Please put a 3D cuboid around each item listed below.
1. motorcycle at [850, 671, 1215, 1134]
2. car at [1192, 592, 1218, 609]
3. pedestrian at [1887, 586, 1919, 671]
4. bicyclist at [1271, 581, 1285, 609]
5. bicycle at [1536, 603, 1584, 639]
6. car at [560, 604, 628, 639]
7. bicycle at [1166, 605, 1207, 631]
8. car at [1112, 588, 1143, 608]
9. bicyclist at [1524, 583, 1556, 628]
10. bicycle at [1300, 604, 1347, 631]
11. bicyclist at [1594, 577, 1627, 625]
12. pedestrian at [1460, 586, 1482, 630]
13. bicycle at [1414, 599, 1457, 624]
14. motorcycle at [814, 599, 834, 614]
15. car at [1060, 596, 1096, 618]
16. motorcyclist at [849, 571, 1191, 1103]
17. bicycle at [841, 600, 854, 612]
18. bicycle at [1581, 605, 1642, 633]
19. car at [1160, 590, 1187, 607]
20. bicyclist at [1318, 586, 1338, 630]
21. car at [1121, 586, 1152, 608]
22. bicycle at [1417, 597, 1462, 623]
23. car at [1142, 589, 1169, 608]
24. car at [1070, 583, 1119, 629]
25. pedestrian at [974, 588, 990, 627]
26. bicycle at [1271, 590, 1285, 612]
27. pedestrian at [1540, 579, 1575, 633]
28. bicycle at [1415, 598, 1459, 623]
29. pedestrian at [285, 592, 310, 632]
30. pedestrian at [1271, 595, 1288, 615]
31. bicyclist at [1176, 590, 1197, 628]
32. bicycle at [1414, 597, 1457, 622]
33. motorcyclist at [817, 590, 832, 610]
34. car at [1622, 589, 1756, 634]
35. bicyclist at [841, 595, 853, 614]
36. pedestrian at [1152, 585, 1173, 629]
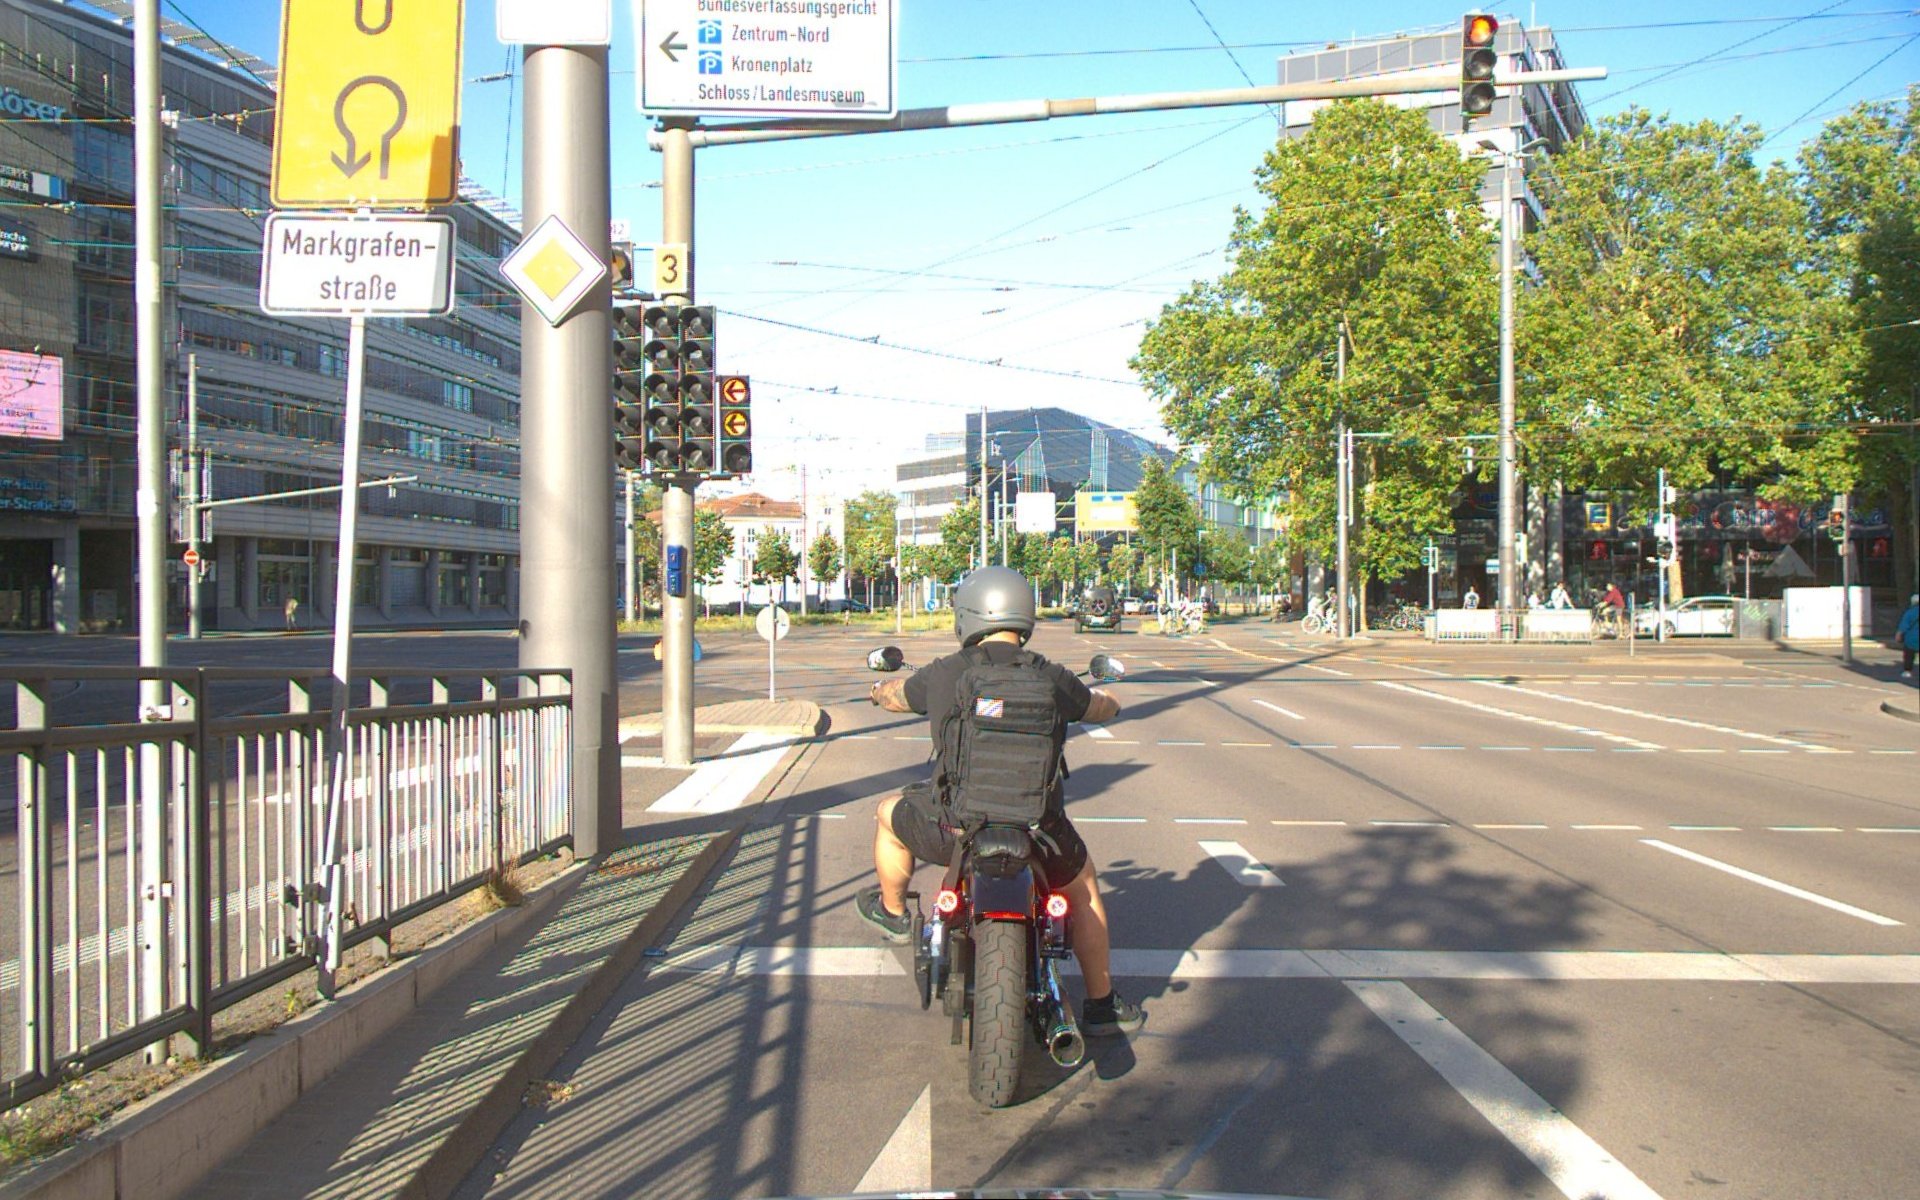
[{"bbox_3d":[0.184,0.882,5.700,0.985,1.145,2.323,1,0,-1],"label":"motorcycle"},{"bbox_3d":[22.097,0.039,149.128,1.803,1.490,4.002,1,0,17],"label":"car"},{"bbox_3d":[17.840,0.529,30.812,0.662,1.566,0.741,1,-1,-8],"label":"pedestrian"},{"bbox_3d":[21.850,-0.352,113.626,0.842,1.873,1.258,0,0,14],"label":"bicyclist"},{"bbox_3d":[18.378,0.645,50.696,0.773,1.070,1.922,1,0,-1],"label":"bicycle"},{"bbox_3d":[-17.276,0.990,78.257,1.753,1.491,4.315,-1,1,8],"label":"car"},{"bbox_3d":[9.215,0.716,67.317,1.594,1.039,0.516,-1,-1,23],"label":"bicycle"},{"bbox_3d":[13.740,-0.164,135.718,1.736,1.541,3.733,0,0,19],"label":"car"},{"bbox_3d":[25.544,0.244,72.817,1.200,1.965,0.836,0,0,9],"label":"bicyclist"},{"bbox_3d":[14.385,0.682,65.483,1.813,1.039,0.517,-1,-1,11],"label":"bicycle"},{"bbox_3d":[22.387,0.039,56.924,0.906,1.643,0.638,0,0,3],"label":"bicyclist"},{"bbox_3d":[22.492,0.352,72.779,0.829,1.884,0.810,2,0,14],"label":"pedestrian"},{"bbox_3d":[19.441,0.456,67.588,1.668,1.003,0.391,0,0,13],"label":"bicycle"},{"bbox_3d":[-11.839,0.566,144.240,0.962,1.253,2.945,0,0,10],"label":"motorcycle"},{"bbox_3d":[8.607,0.489,120.514,1.861,1.534,4.003,1,0,15],"label":"car"},{"bbox_3d":[0.172,0.707,5.592,1.001,1.579,1.286,1,0,-1],"label":"motorcyclist"},{"bbox_3d":[-10.405,0.530,152.338,0.629,1.127,1.686,0,0,17],"label":"bicycle"},{"bbox_3d":[22.419,0.652,56.930,1.814,0.926,0.652,0,0,3],"label":"bicycle"},{"bbox_3d":[20.149,-0.146,156.320,1.685,1.510,3.754,0,0,21],"label":"car"},{"bbox_3d":[14.557,0.305,65.470,0.727,1.724,0.570,-1,-1,10],"label":"bicyclist"},{"bbox_3d":[15.114,-0.227,141.469,1.781,1.849,3.945,0,0,19],"label":"car"},{"bbox_3d":[19.081,0.391,65.827,1.668,1.003,0.391,0,0,13],"label":"bicycle"},{"bbox_3d":[17.593,-0.165,148.596,1.684,1.686,3.755,0,0,19],"label":"car"},{"bbox_3d":[5.853,0.283,71.866,2.010,1.906,4.229,1,0,5],"label":"car"},{"bbox_3d":[0.929,0.322,69.006,0.643,1.610,0.489,0,0,3],"label":"pedestrian"},{"bbox_3d":[21.882,0.061,113.753,0.842,1.507,2.578,0,0,14],"label":"bicycle"},{"bbox_3d":[18.392,0.184,50.888,0.754,1.622,0.838,1,-1,-1],"label":"pedestrian"},{"bbox_3d":[19.233,0.428,66.675,1.668,1.003,0.391,0,0,13],"label":"bicycle"},{"bbox_3d":[-30.653,0.549,76.522,0.660,1.855,0.886,-2,-1,9],"label":"pedestrian"},{"bbox_3d":[17.553,0.295,90.931,0.768,1.075,0.814,0,0,22],"label":"pedestrian"},{"bbox_3d":[9.215,0.381,67.317,0.727,1.529,0.570,-1,-1,23],"label":"bicyclist"},{"bbox_3d":[19.559,0.386,68.051,1.668,1.003,0.391,0,0,13],"label":"bicycle"},{"bbox_3d":[-11.831,0.002,144.348,0.997,1.761,1.462,0,0,10],"label":"motorcyclist"},{"bbox_3d":[25.863,0.397,58.749,3.903,1.512,2.001,1,0,4],"label":"car"},{"bbox_3d":[-10.394,0.392,152.362,0.747,1.696,0.994,0,0,17],"label":"bicyclist"},{"bbox_3d":[8.488,0.294,69.343,0.688,1.869,0.513,1,-1,35],"label":"pedestrian"}]
